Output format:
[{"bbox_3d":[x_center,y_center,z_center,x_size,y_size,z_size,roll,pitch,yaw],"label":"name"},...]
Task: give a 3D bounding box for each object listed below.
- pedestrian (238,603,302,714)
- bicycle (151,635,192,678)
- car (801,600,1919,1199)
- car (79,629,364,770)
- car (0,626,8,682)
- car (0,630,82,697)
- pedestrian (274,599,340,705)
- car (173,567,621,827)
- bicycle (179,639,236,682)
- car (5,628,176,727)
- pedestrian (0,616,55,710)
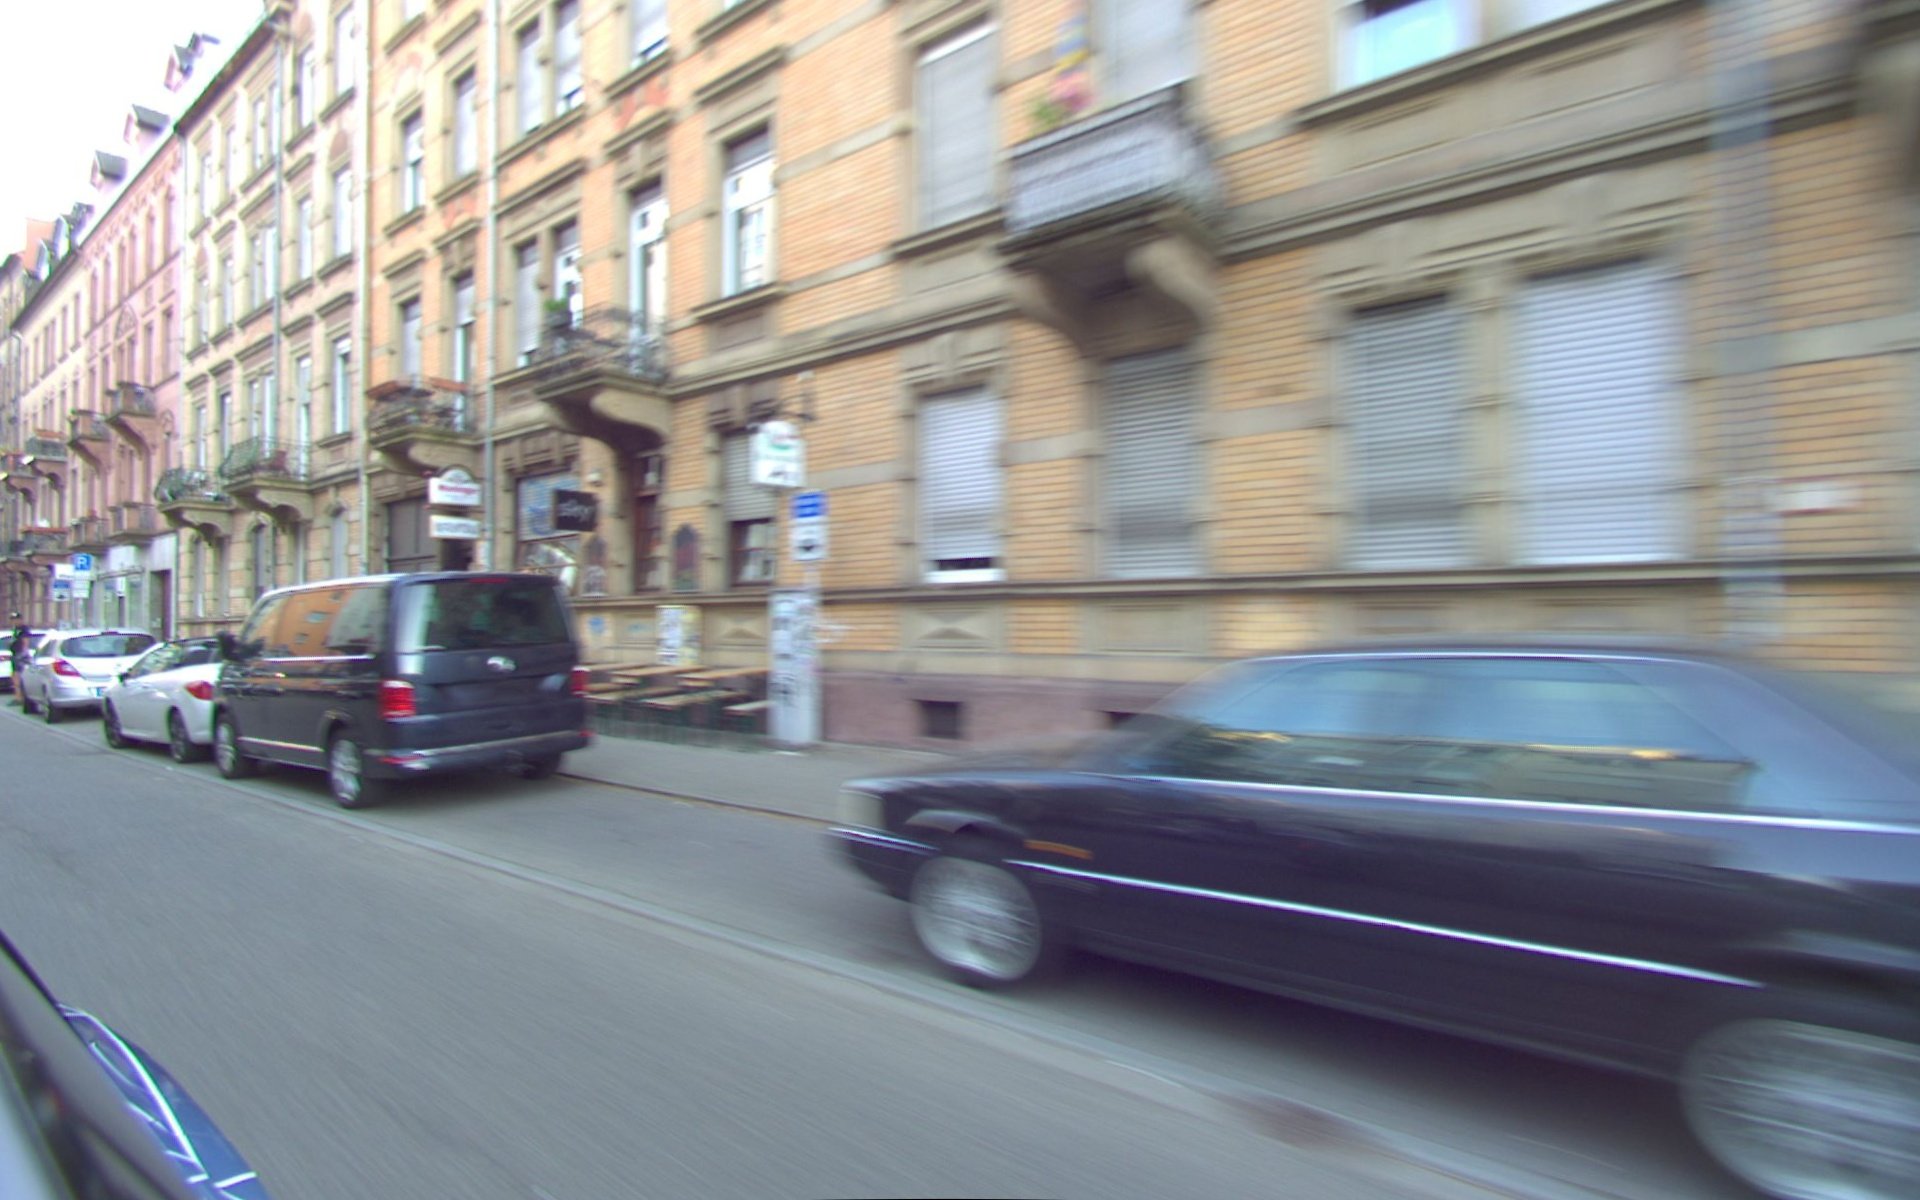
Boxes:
[{"bbox_3d":[-11.565,0.969,16.963,0.775,1.785,0.600,-3,0,36],"label":"pedestrian"},{"bbox_3d":[-21.458,1.528,27.524,1.729,1.140,0.510,-2,-2,39],"label":"bicycle"},{"bbox_3d":[1.687,0.749,3.635,4.774,1.429,1.719,-1,0,39],"label":"car"},{"bbox_3d":[-9.537,1.145,12.938,4.479,1.433,1.767,-2,0,38],"label":"car"},{"bbox_3d":[-30.221,1.656,30.415,4.442,1.646,1.834,-2,-1,40],"label":"car"},{"bbox_3d":[-22.225,1.463,23.756,4.504,1.422,1.740,-2,-1,40],"label":"car"},{"bbox_3d":[-11.367,0.898,17.608,0.995,1.785,0.575,-3,0,36],"label":"pedestrian"},{"bbox_3d":[-5.639,0.765,9.849,4.943,1.938,1.975,-2,0,37],"label":"car"},{"bbox_3d":[-18.748,1.493,25.207,1.619,1.035,0.588,-2,-2,32],"label":"bicycle"},{"bbox_3d":[-15.249,1.274,17.676,3.998,1.468,1.699,-2,-1,41],"label":"car"},{"bbox_3d":[-18.315,1.210,19.639,1.004,1.769,0.557,0,-1,-26],"label":"pedestrian"}]
